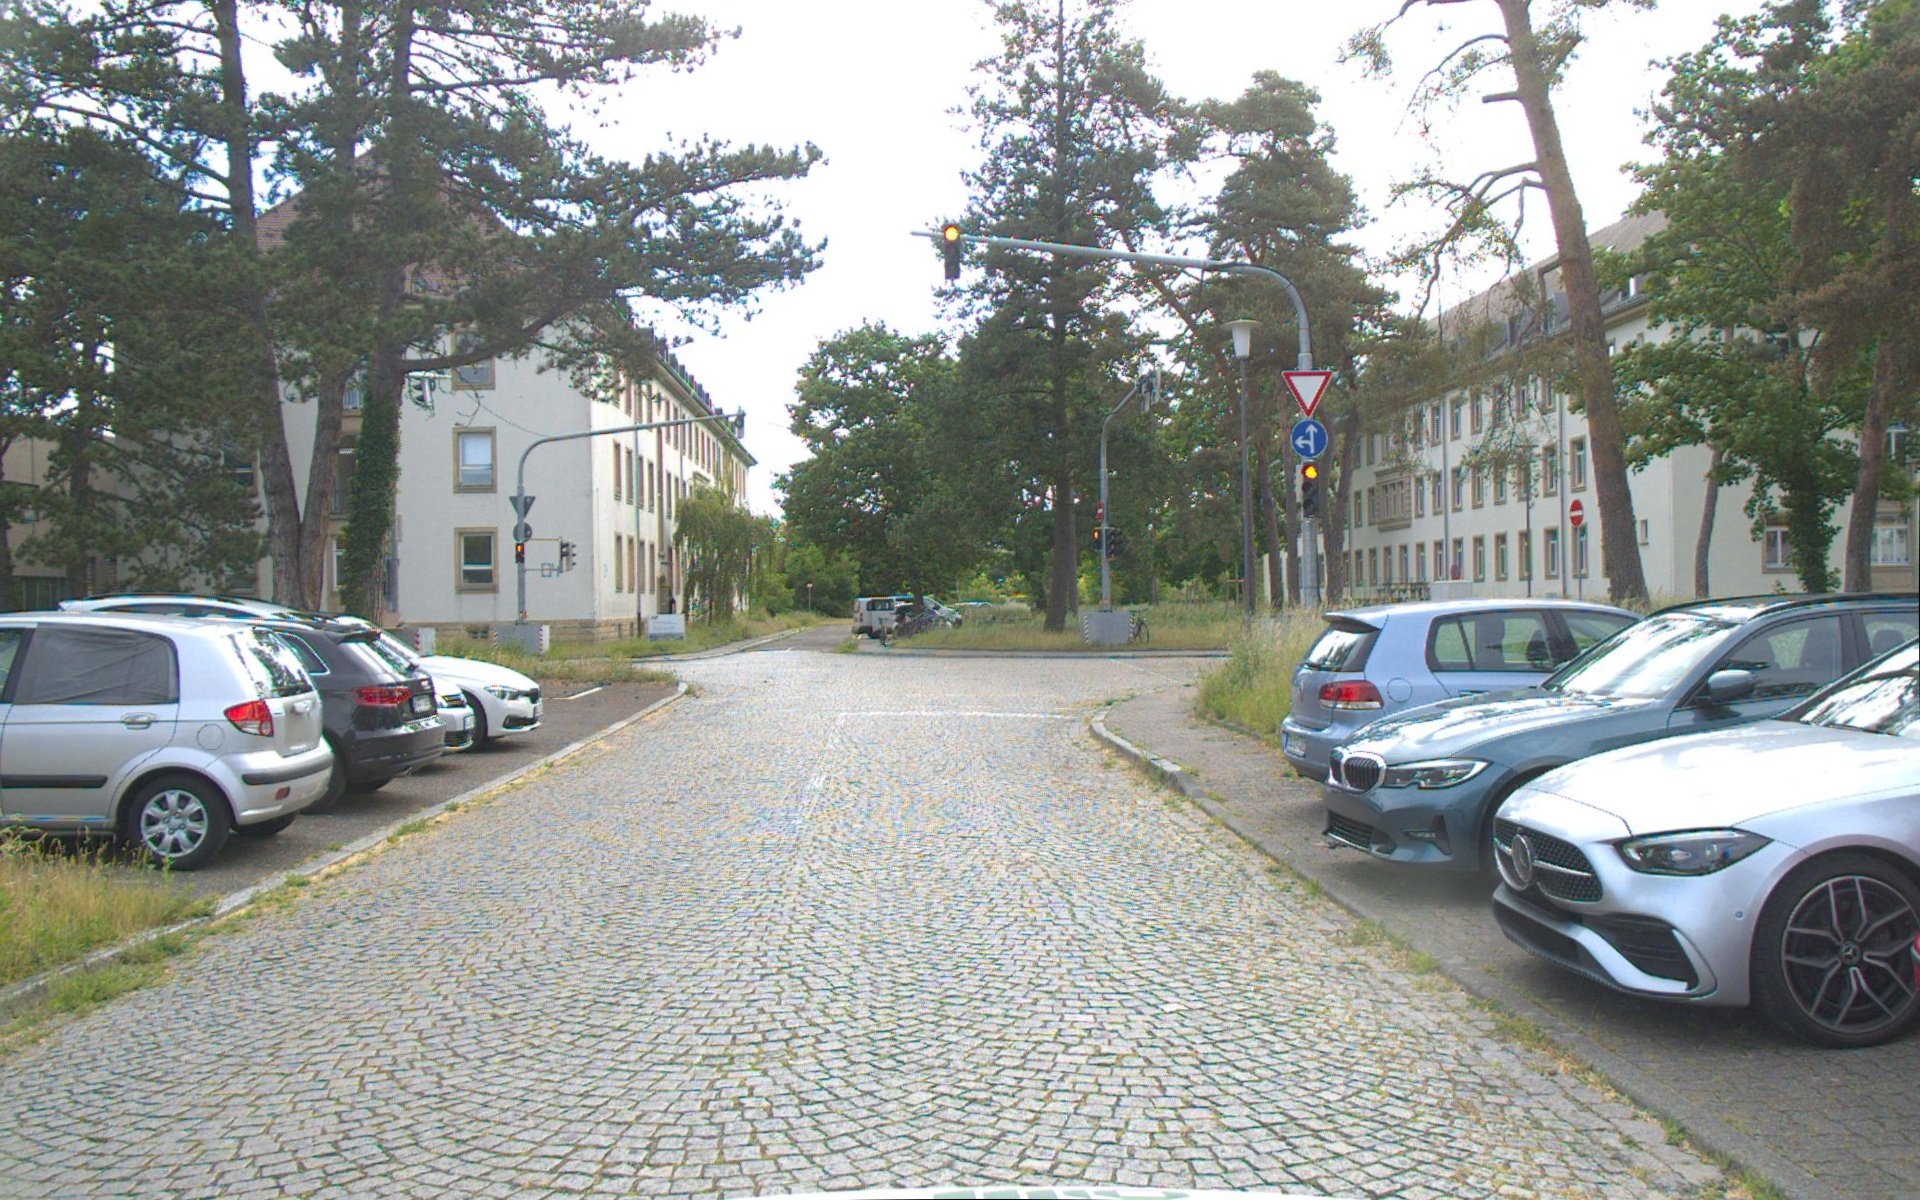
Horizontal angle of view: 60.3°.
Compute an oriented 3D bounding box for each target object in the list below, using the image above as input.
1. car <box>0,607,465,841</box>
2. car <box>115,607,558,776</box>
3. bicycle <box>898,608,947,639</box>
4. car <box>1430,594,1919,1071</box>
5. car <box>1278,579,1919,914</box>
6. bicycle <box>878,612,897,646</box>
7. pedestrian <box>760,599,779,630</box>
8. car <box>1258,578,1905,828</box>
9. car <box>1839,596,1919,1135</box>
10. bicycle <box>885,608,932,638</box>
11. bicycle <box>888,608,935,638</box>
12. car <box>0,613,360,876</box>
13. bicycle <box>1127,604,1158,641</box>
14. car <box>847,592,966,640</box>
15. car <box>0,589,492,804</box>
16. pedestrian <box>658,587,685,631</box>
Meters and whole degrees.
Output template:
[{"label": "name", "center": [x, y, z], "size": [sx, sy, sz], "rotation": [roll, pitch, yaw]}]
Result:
[{"label": "car", "center": [-6.258, 0.927, 13.046], "size": [4.218, 1.581, 1.808], "rotation": [-2, 0, -9]}, {"label": "car", "center": [-6.731, 0.950, 18.285], "size": [4.218, 1.581, 1.808], "rotation": [-2, 0, -9]}, {"label": "bicycle", "center": [-1.452, 0.913, 63.777], "size": [1.846, 1.191, 0.664], "rotation": [0, -1, -8]}, {"label": "car", "center": [4.200, 0.716, 6.584], "size": [4.109, 1.462, 1.751], "rotation": [-2, 0, -10]}, {"label": "car", "center": [4.095, 0.697, 9.348], "size": [4.157, 1.505, 1.704], "rotation": [-2, 0, -14]}, {"label": "bicycle", "center": [-2.578, 1.035, 59.082], "size": [0.649, 1.191, 1.887], "rotation": [0, 0, -2]}, {"label": "pedestrian", "center": [-12.411, 0.962, 107.763], "size": [1.216, 1.993, 1.119], "rotation": [0, -1, -8]}, {"label": "car", "center": [4.378, 0.671, 11.918], "size": [4.058, 1.489, 1.630], "rotation": [-2, 0, -8]}, {"label": "car", "center": [4.706, 0.671, 4.246], "size": [4.025, 1.502, 1.683], "rotation": [-2, 0, -5]}, {"label": "bicycle", "center": [-2.103, 0.930, 67.244], "size": [1.846, 1.191, 0.664], "rotation": [0, -1, -8]}, {"label": "bicycle", "center": [-1.948, 0.925, 66.299], "size": [1.846, 1.191, 0.664], "rotation": [0, -1, -8]}, {"label": "car", "center": [-5.917, 0.851, 10.465], "size": [3.648, 1.507, 1.671], "rotation": [1, 0, -6]}, {"label": "bicycle", "center": [5.384, 0.651, 48.844], "size": [0.649, 1.069, 1.887], "rotation": [0, 0, -2]}, {"label": "car", "center": [-2.536, 0.752, 78.539], "size": [5.287, 2.138, 2.170], "rotation": [-1, 0, -15]}, {"label": "car", "center": [-6.809, 0.864, 15.825], "size": [4.218, 1.762, 1.650], "rotation": [-2, 0, -8]}, {"label": "pedestrian", "center": [-13.197, 0.422, 75.703], "size": [1.053, 1.993, 1.121], "rotation": [0, -1, -3]}]
